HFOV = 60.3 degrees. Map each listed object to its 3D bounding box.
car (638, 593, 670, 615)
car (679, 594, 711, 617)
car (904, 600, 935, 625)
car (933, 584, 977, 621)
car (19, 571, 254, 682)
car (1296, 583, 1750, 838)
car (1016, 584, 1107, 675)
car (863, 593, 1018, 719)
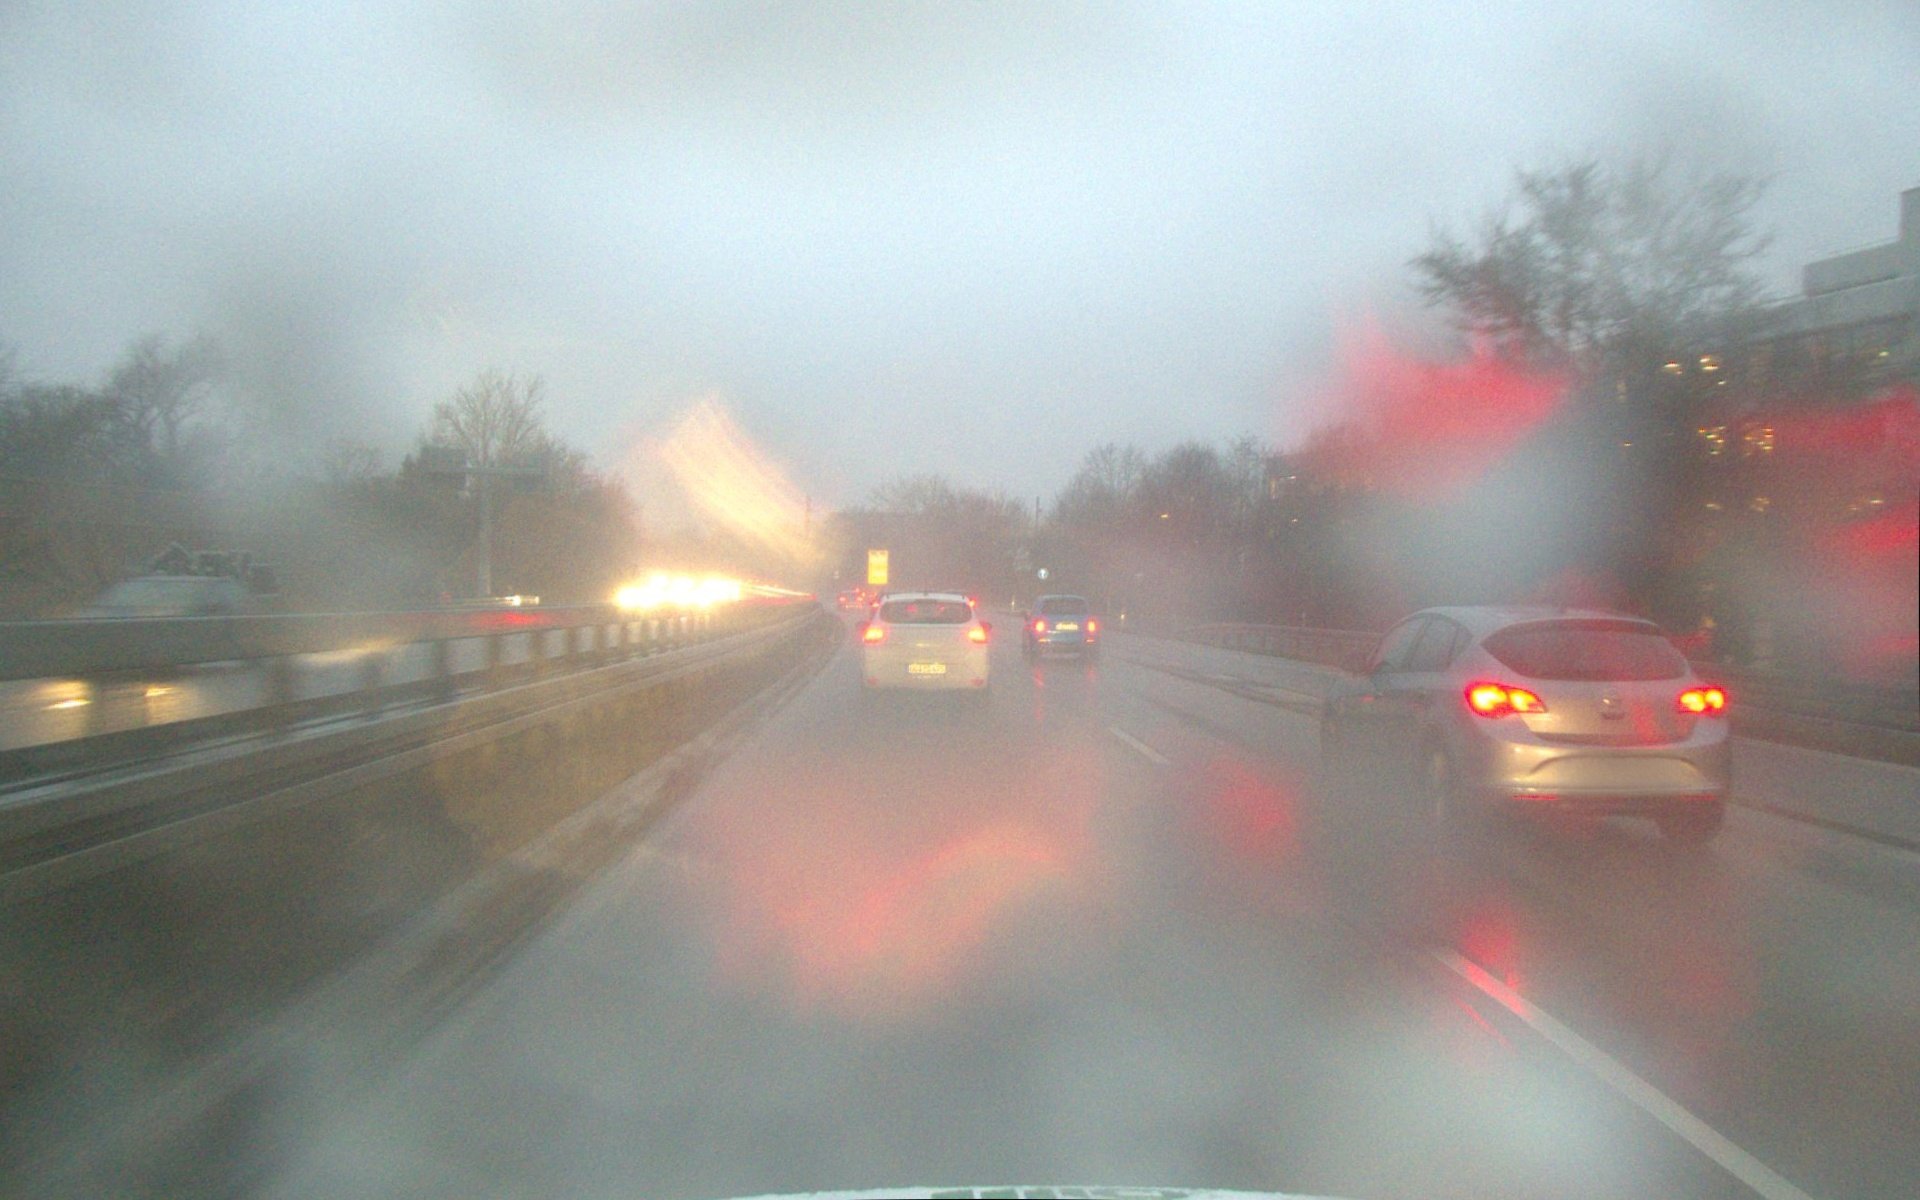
[{"bbox_3d":[-23.123,0.290,124.942,1.801,1.583,4.352,1,0,-3],"label":"car"},{"bbox_3d":[-18.582,0.390,116.177,1.801,1.583,4.351,1,0,-4],"label":"car"},{"bbox_3d":[-2.599,0.780,105.170,1.893,1.573,3.772,1,0,-2],"label":"car"},{"bbox_3d":[-0.282,0.126,82.106,1.895,1.572,3.771,-5,0,-3],"label":"car"},{"bbox_3d":[-11.797,0.350,23.962,1.663,1.466,3.680,1,0,-2],"label":"car"},{"bbox_3d":[3.856,0.669,12.184,1.812,1.528,4.261,1,0,-1],"label":"car"},{"bbox_3d":[2.377,0.662,39.455,1.893,2.055,3.773,1,0,0],"label":"car"},{"bbox_3d":[-0.339,0.719,23.364,1.984,1.602,3.998,1,0,-3],"label":"car"}]
